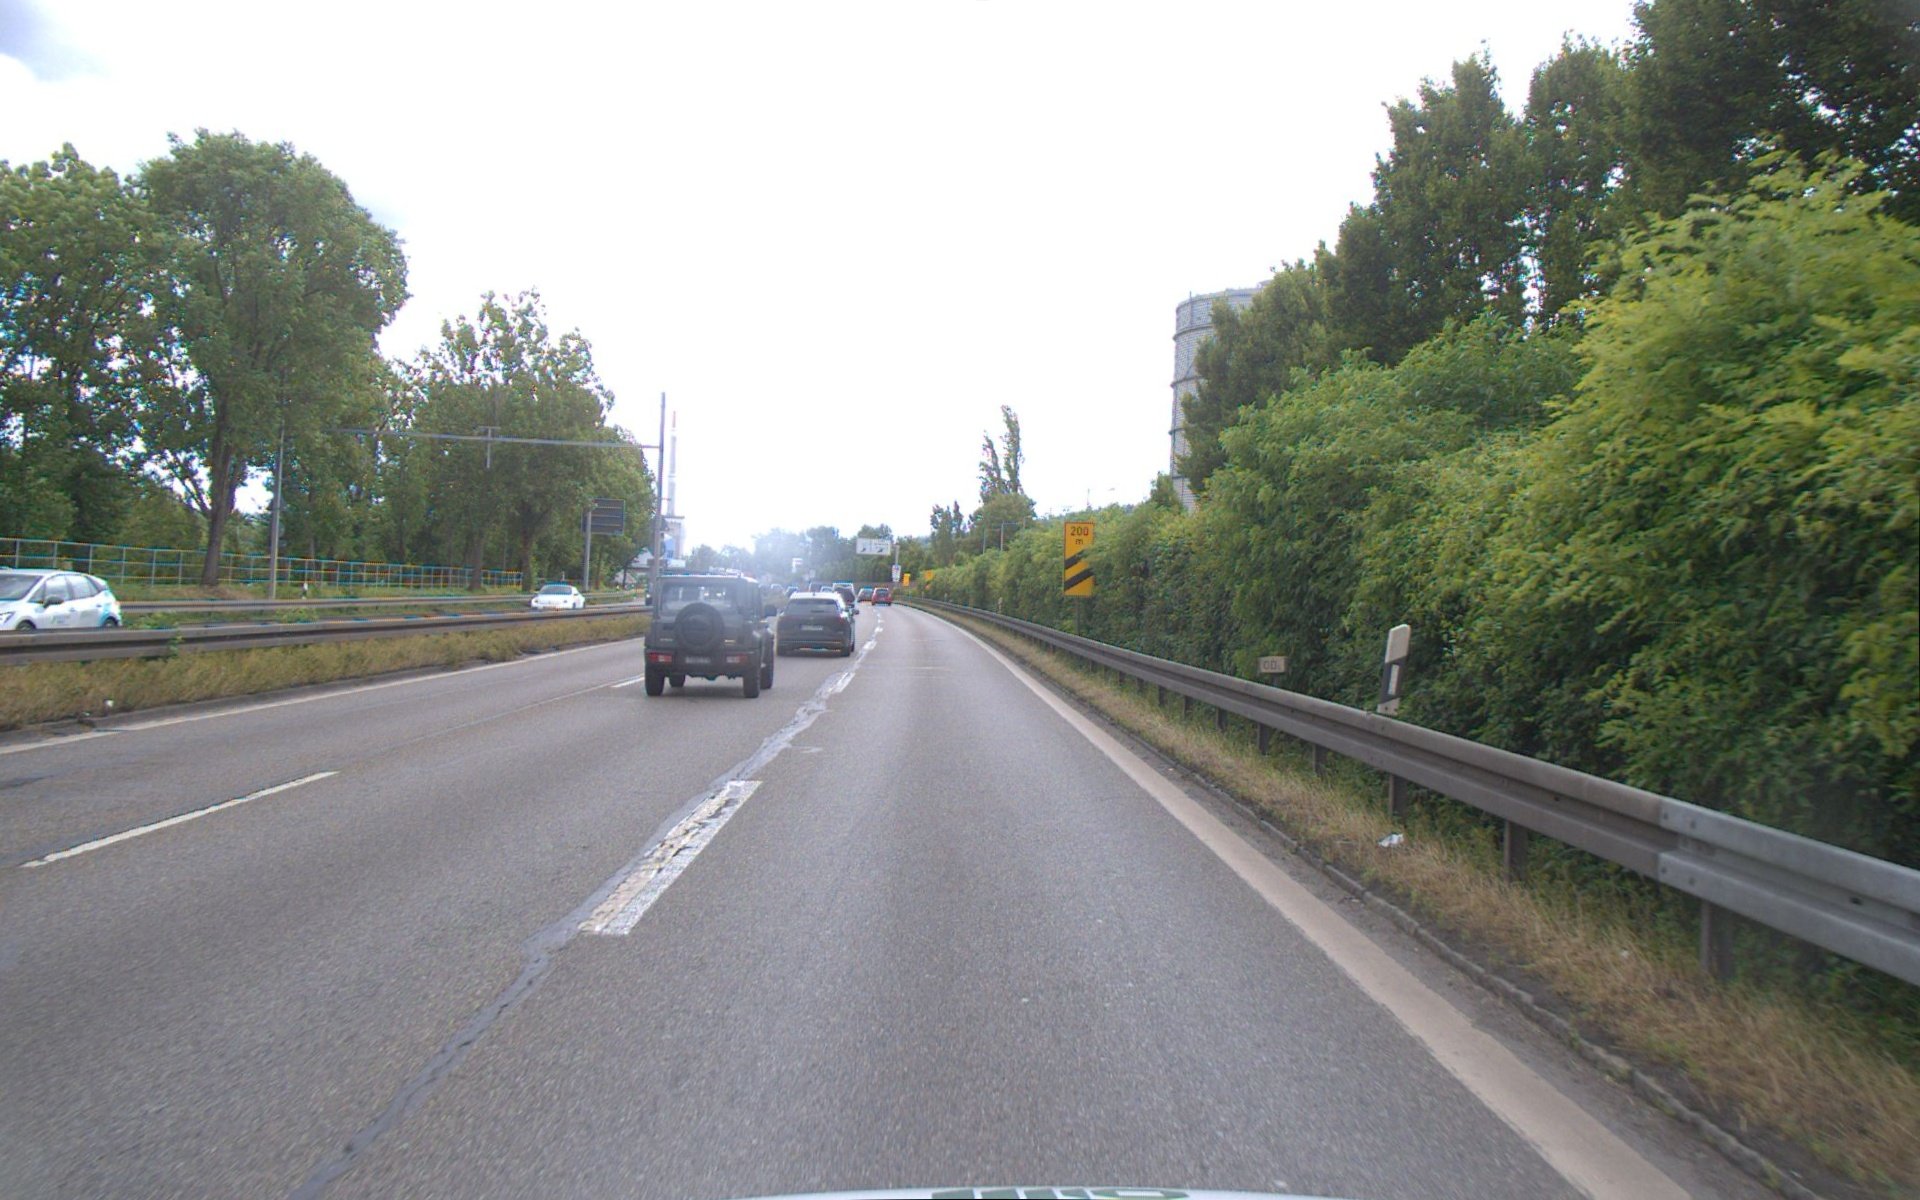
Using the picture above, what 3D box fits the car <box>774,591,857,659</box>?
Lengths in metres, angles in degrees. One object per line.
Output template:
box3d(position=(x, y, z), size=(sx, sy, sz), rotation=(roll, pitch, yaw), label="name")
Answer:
box3d(position=(-3.394, 0.548, 39.542), size=(1.808, 1.448, 4.897), rotation=(3, 0, -4), label="car")

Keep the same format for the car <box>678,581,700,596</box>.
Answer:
box3d(position=(-26.925, -1.156, 164.575), size=(1.683, 1.490, 4.378), rotation=(1, 0, -3), label="car")

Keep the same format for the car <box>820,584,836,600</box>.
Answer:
box3d(position=(-16.293, -1.024, 204.250), size=(1.974, 1.968, 4.896), rotation=(1, 0, -5), label="car")

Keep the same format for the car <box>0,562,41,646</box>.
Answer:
box3d(position=(-19.590, 0.084, 31.731), size=(1.691, 1.633, 4.042), rotation=(0, 0, -1), label="car")

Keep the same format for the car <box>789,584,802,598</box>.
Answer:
box3d(position=(-21.193, -1.170, 212.969), size=(1.665, 1.772, 4.387), rotation=(1, 0, -6), label="car")

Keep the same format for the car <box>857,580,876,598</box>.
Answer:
box3d(position=(-9.773, -1.129, 172.932), size=(1.665, 1.772, 4.387), rotation=(1, 0, -7), label="car")

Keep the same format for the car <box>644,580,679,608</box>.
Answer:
box3d(position=(-19.618, -0.394, 108.814), size=(1.691, 1.806, 3.741), rotation=(1, 0, -1), label="car")

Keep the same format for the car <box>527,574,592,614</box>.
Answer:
box3d(position=(-17.527, -0.276, 72.603), size=(1.829, 1.704, 4.717), rotation=(1, 0, -2), label="car")

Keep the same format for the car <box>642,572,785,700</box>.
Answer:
box3d(position=(-3.582, 0.479, 24.611), size=(1.663, 1.715, 3.998), rotation=(1, 0, -3), label="car")

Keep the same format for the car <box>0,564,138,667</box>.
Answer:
box3d(position=(-16.013, 0.224, 28.325), size=(1.663, 1.633, 4.538), rotation=(0, 0, -1), label="car")

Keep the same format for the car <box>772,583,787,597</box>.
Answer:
box3d(position=(-27.755, -1.544, 253.989), size=(1.976, 1.968, 4.890), rotation=(1, 0, -9), label="car")

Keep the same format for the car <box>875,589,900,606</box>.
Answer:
box3d(position=(-6.504, -0.218, 148.398), size=(1.936, 1.448, 4.895), rotation=(1, 0, -6), label="car")

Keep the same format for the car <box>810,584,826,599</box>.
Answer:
box3d(position=(-19.093, -1.107, 222.266), size=(1.975, 1.968, 4.892), rotation=(1, 0, -8), label="car")

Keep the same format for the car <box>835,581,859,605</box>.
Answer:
box3d(position=(-8.724, -0.539, 127.891), size=(1.663, 1.772, 3.999), rotation=(2, 0, -2), label="car")
